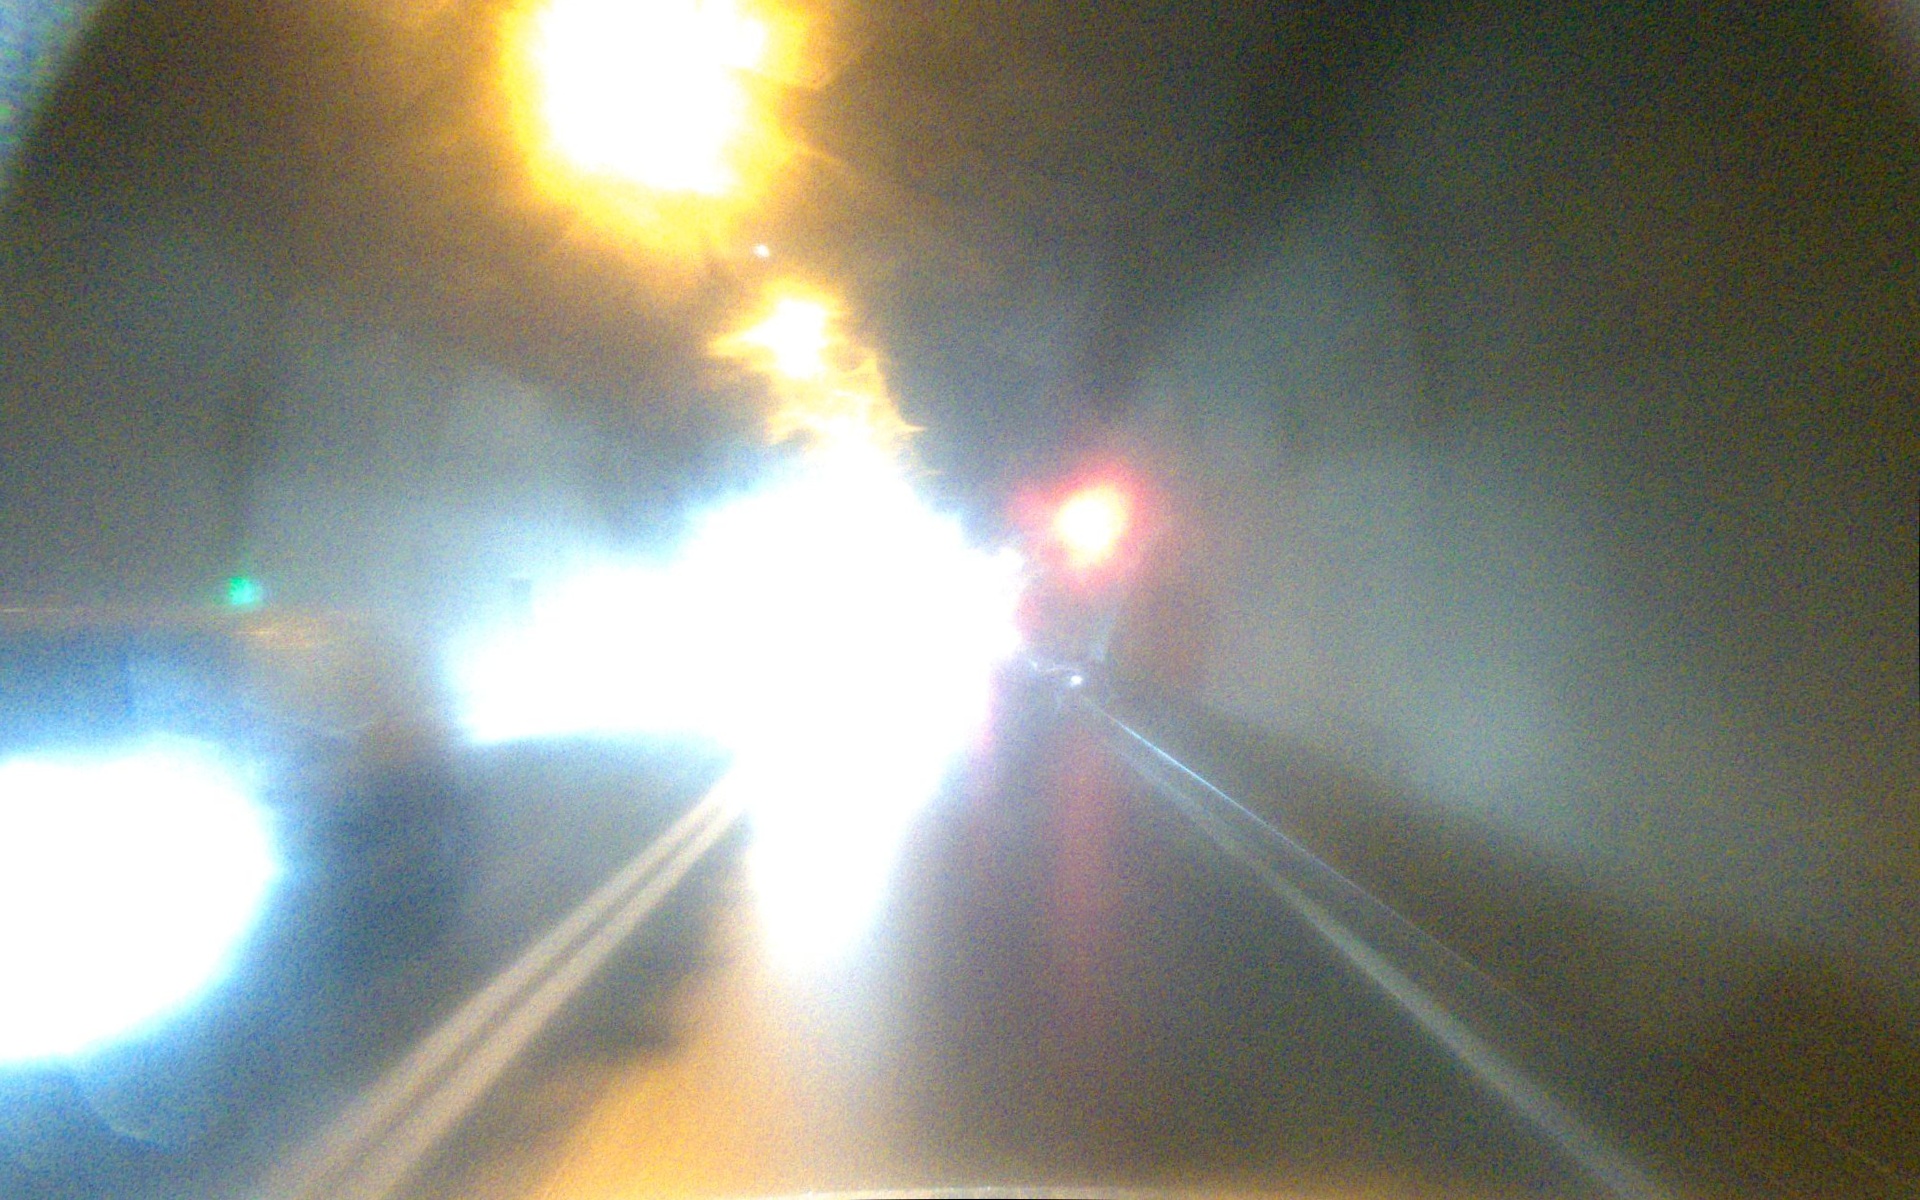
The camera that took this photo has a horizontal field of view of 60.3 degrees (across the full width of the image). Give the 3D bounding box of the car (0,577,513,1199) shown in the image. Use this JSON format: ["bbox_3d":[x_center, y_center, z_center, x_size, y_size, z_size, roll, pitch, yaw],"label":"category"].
[{"bbox_3d":[-2.951,0.679,5.911,1.758,1.508,3.867,1,0,-2],"label":"car"}]

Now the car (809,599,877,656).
[{"bbox_3d":[-3.428,0.772,49.058,1.721,1.555,3.814,2,0,-1],"label":"car"}]

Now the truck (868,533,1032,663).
[{"bbox_3d":[-0.245,-0.043,39.452,3.463,2.740,8.954,0,0,-1],"label":"truck"}]
